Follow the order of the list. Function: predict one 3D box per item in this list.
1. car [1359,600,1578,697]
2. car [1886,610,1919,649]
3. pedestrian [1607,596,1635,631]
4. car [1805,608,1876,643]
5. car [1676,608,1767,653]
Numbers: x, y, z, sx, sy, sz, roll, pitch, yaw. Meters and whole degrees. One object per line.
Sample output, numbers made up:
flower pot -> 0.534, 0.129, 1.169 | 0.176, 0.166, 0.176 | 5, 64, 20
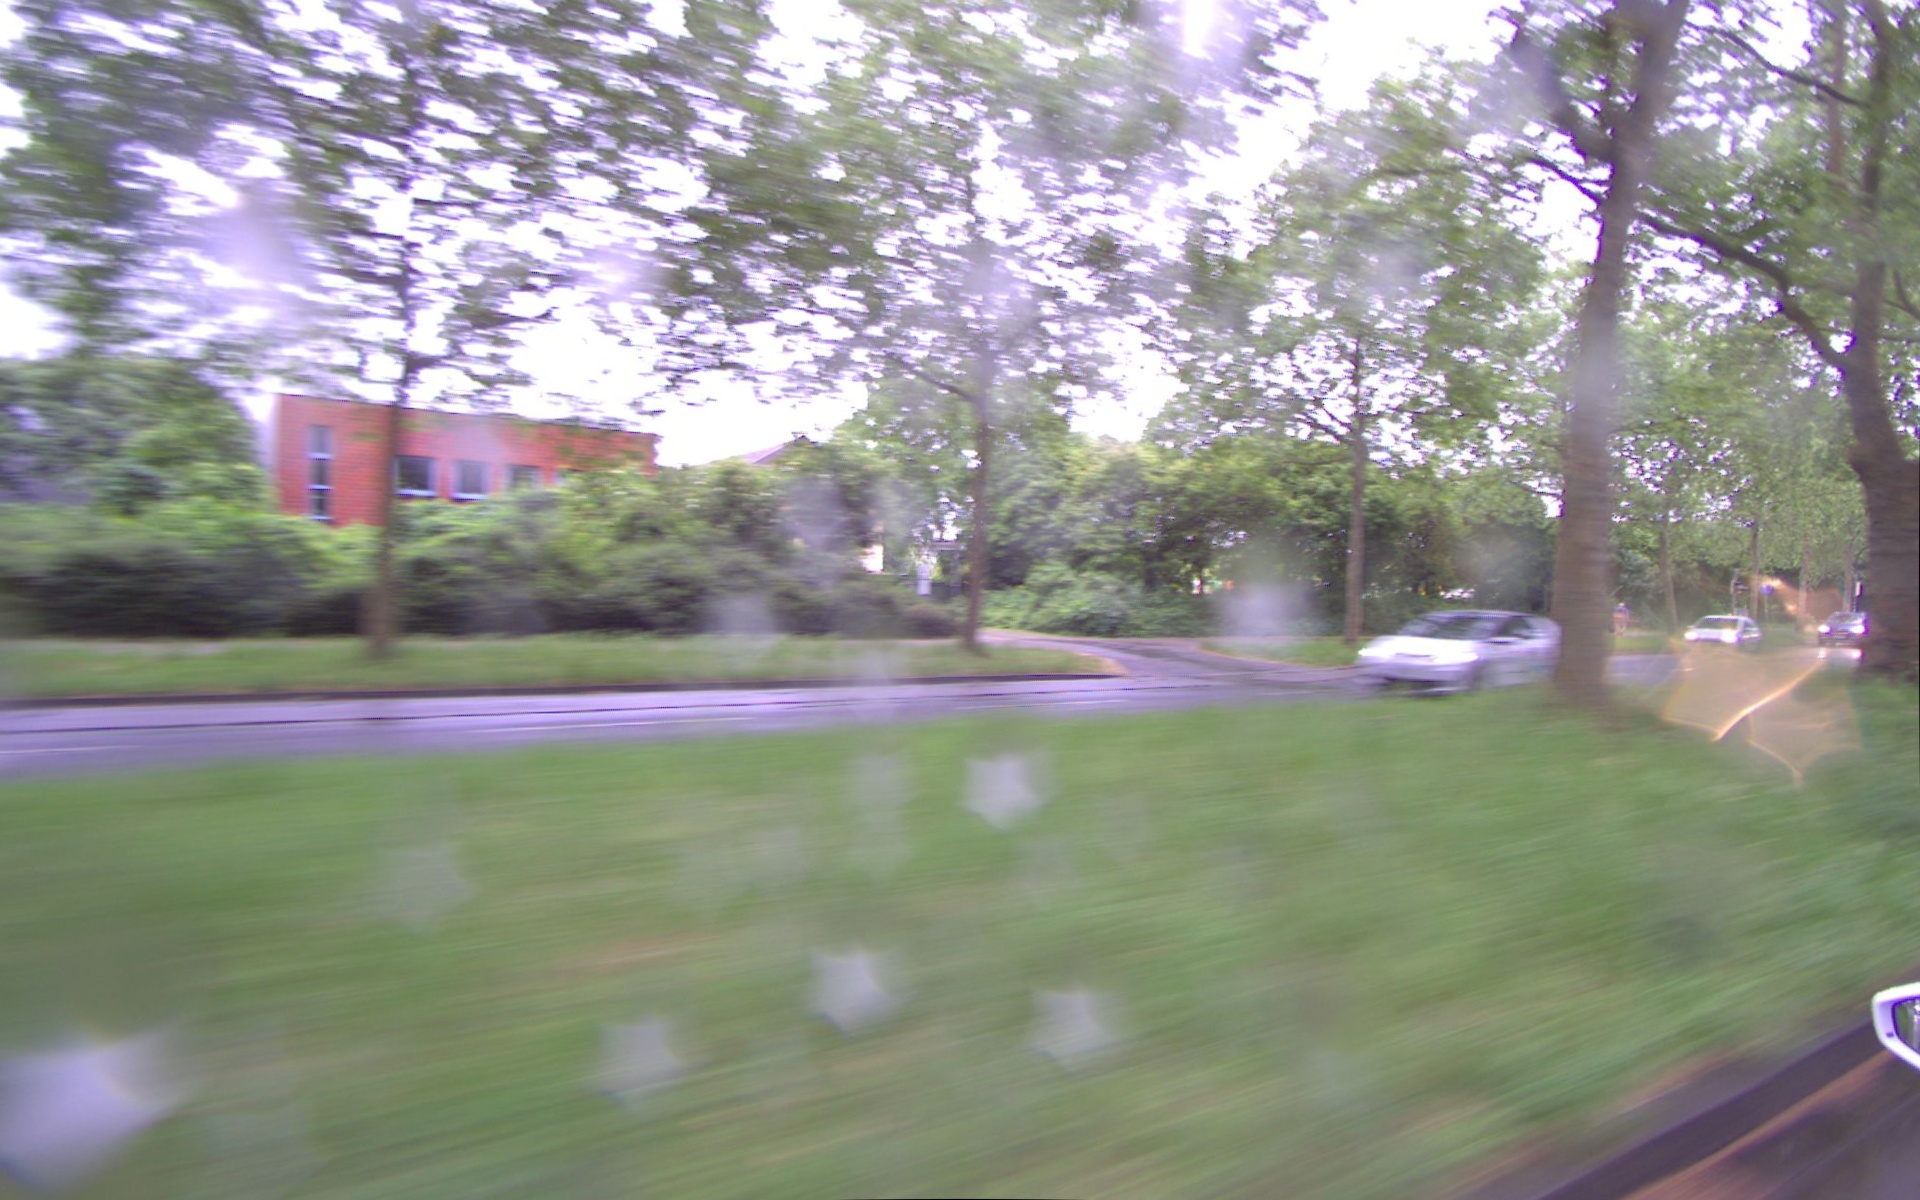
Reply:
car -> 9.256, 0.836, 18.164 | 4.368, 1.496, 1.731 | 2, 1, -37
car -> 42.353, 1.320, 44.368 | 4.299, 1.612, 1.727 | 2, 1, -43
pedestrian -> 32.225, 0.663, 48.981 | 0.892, 1.696, 0.824 | 1, 1, -38
car -> 43.672, 1.262, 49.791 | 4.169, 1.612, 1.731 | 2, 1, -36
car -> 28.186, 1.120, 37.139 | 4.047, 1.496, 1.729 | 2, 1, -39
